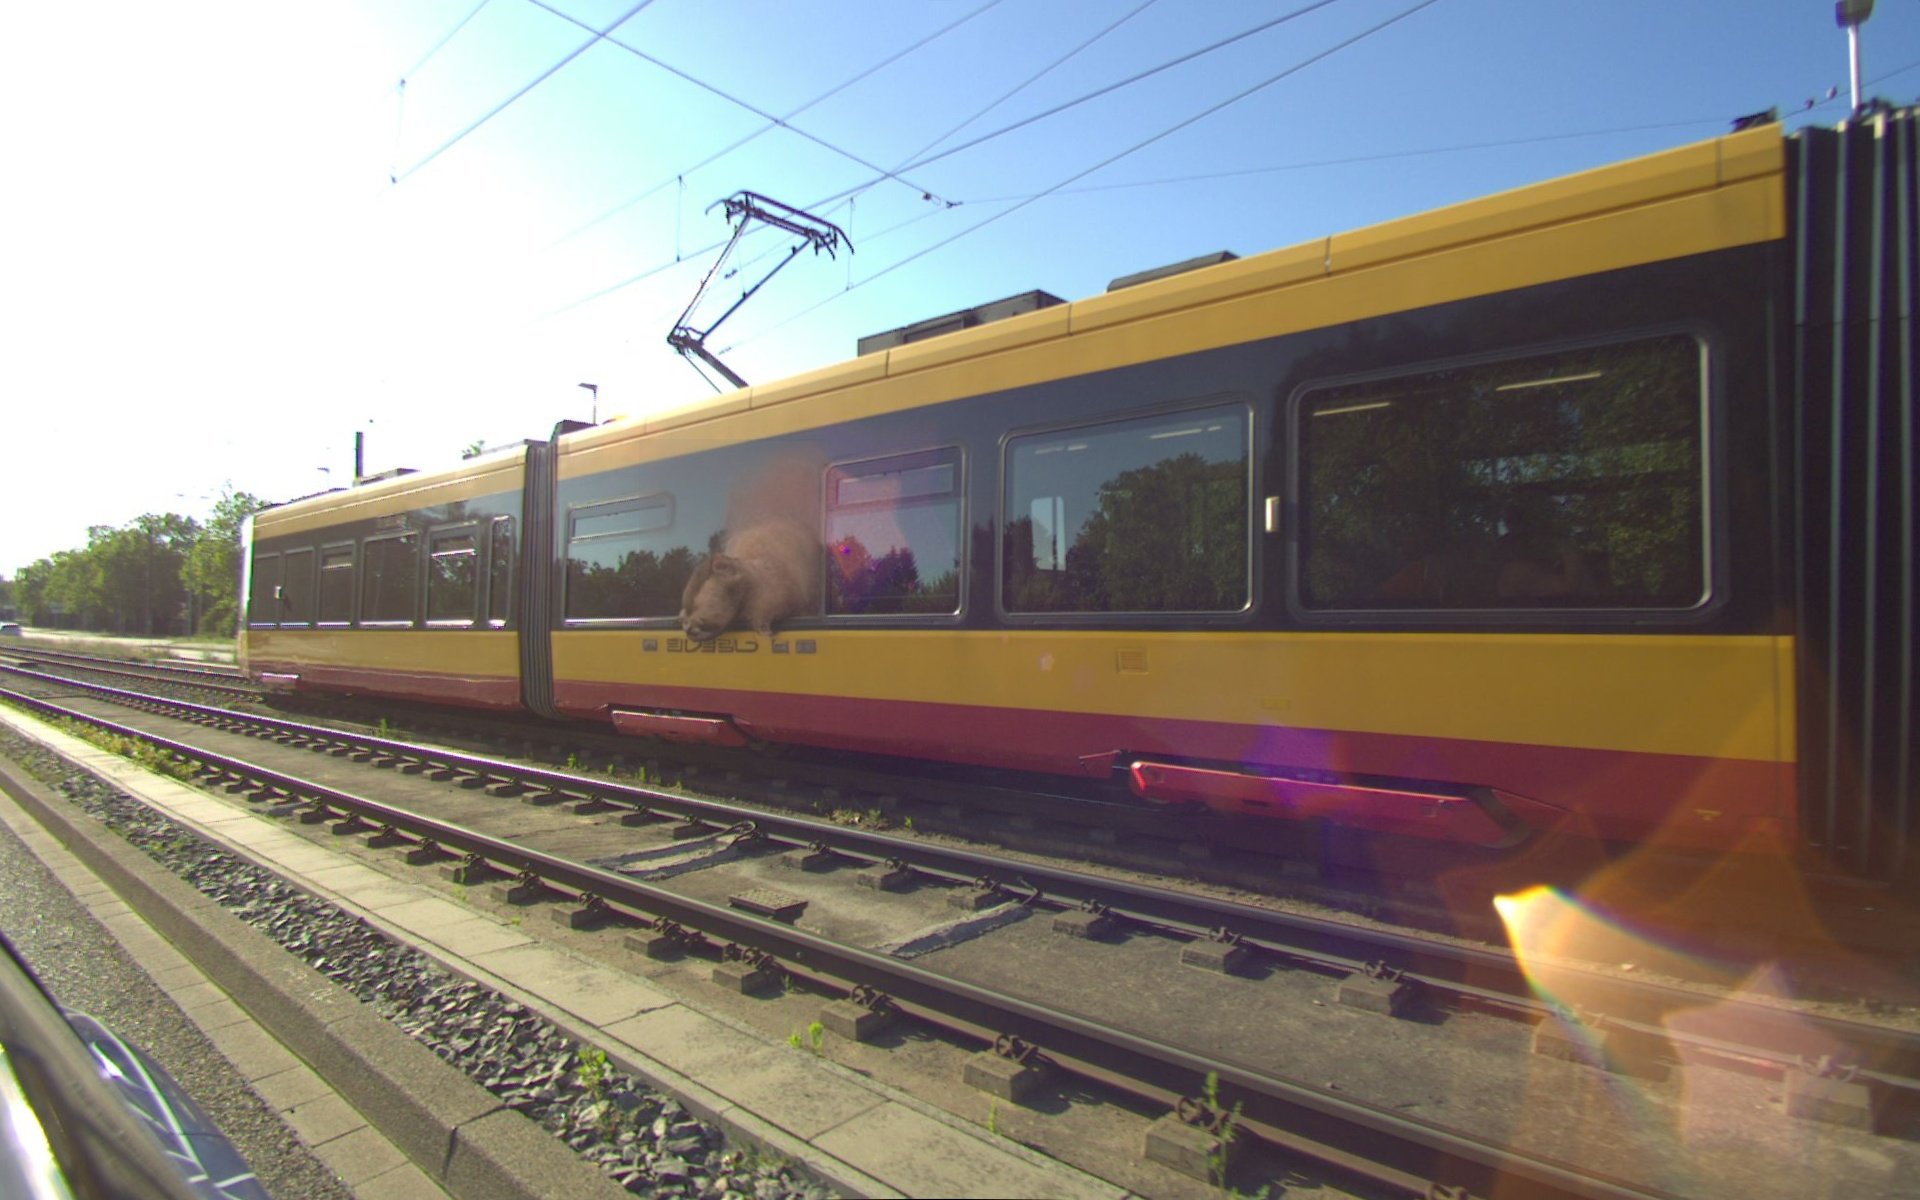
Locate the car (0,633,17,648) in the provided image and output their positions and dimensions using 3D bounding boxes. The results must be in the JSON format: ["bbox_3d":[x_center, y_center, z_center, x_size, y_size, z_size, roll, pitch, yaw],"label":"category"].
[{"bbox_3d":[-93.242,3.928,98.445,3.998,1.363,1.778,-1,0,41],"label":"car"}]

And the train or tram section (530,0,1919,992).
[{"bbox_3d":[0.743,-0.446,8.018,11.659,3.930,2.945,-2,-2,42],"label":"train or tram section"}]

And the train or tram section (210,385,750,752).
[{"bbox_3d":[-8.582,-0.195,16.288,13.075,3.930,2.972,-2,-2,42],"label":"train or tram section"}]
